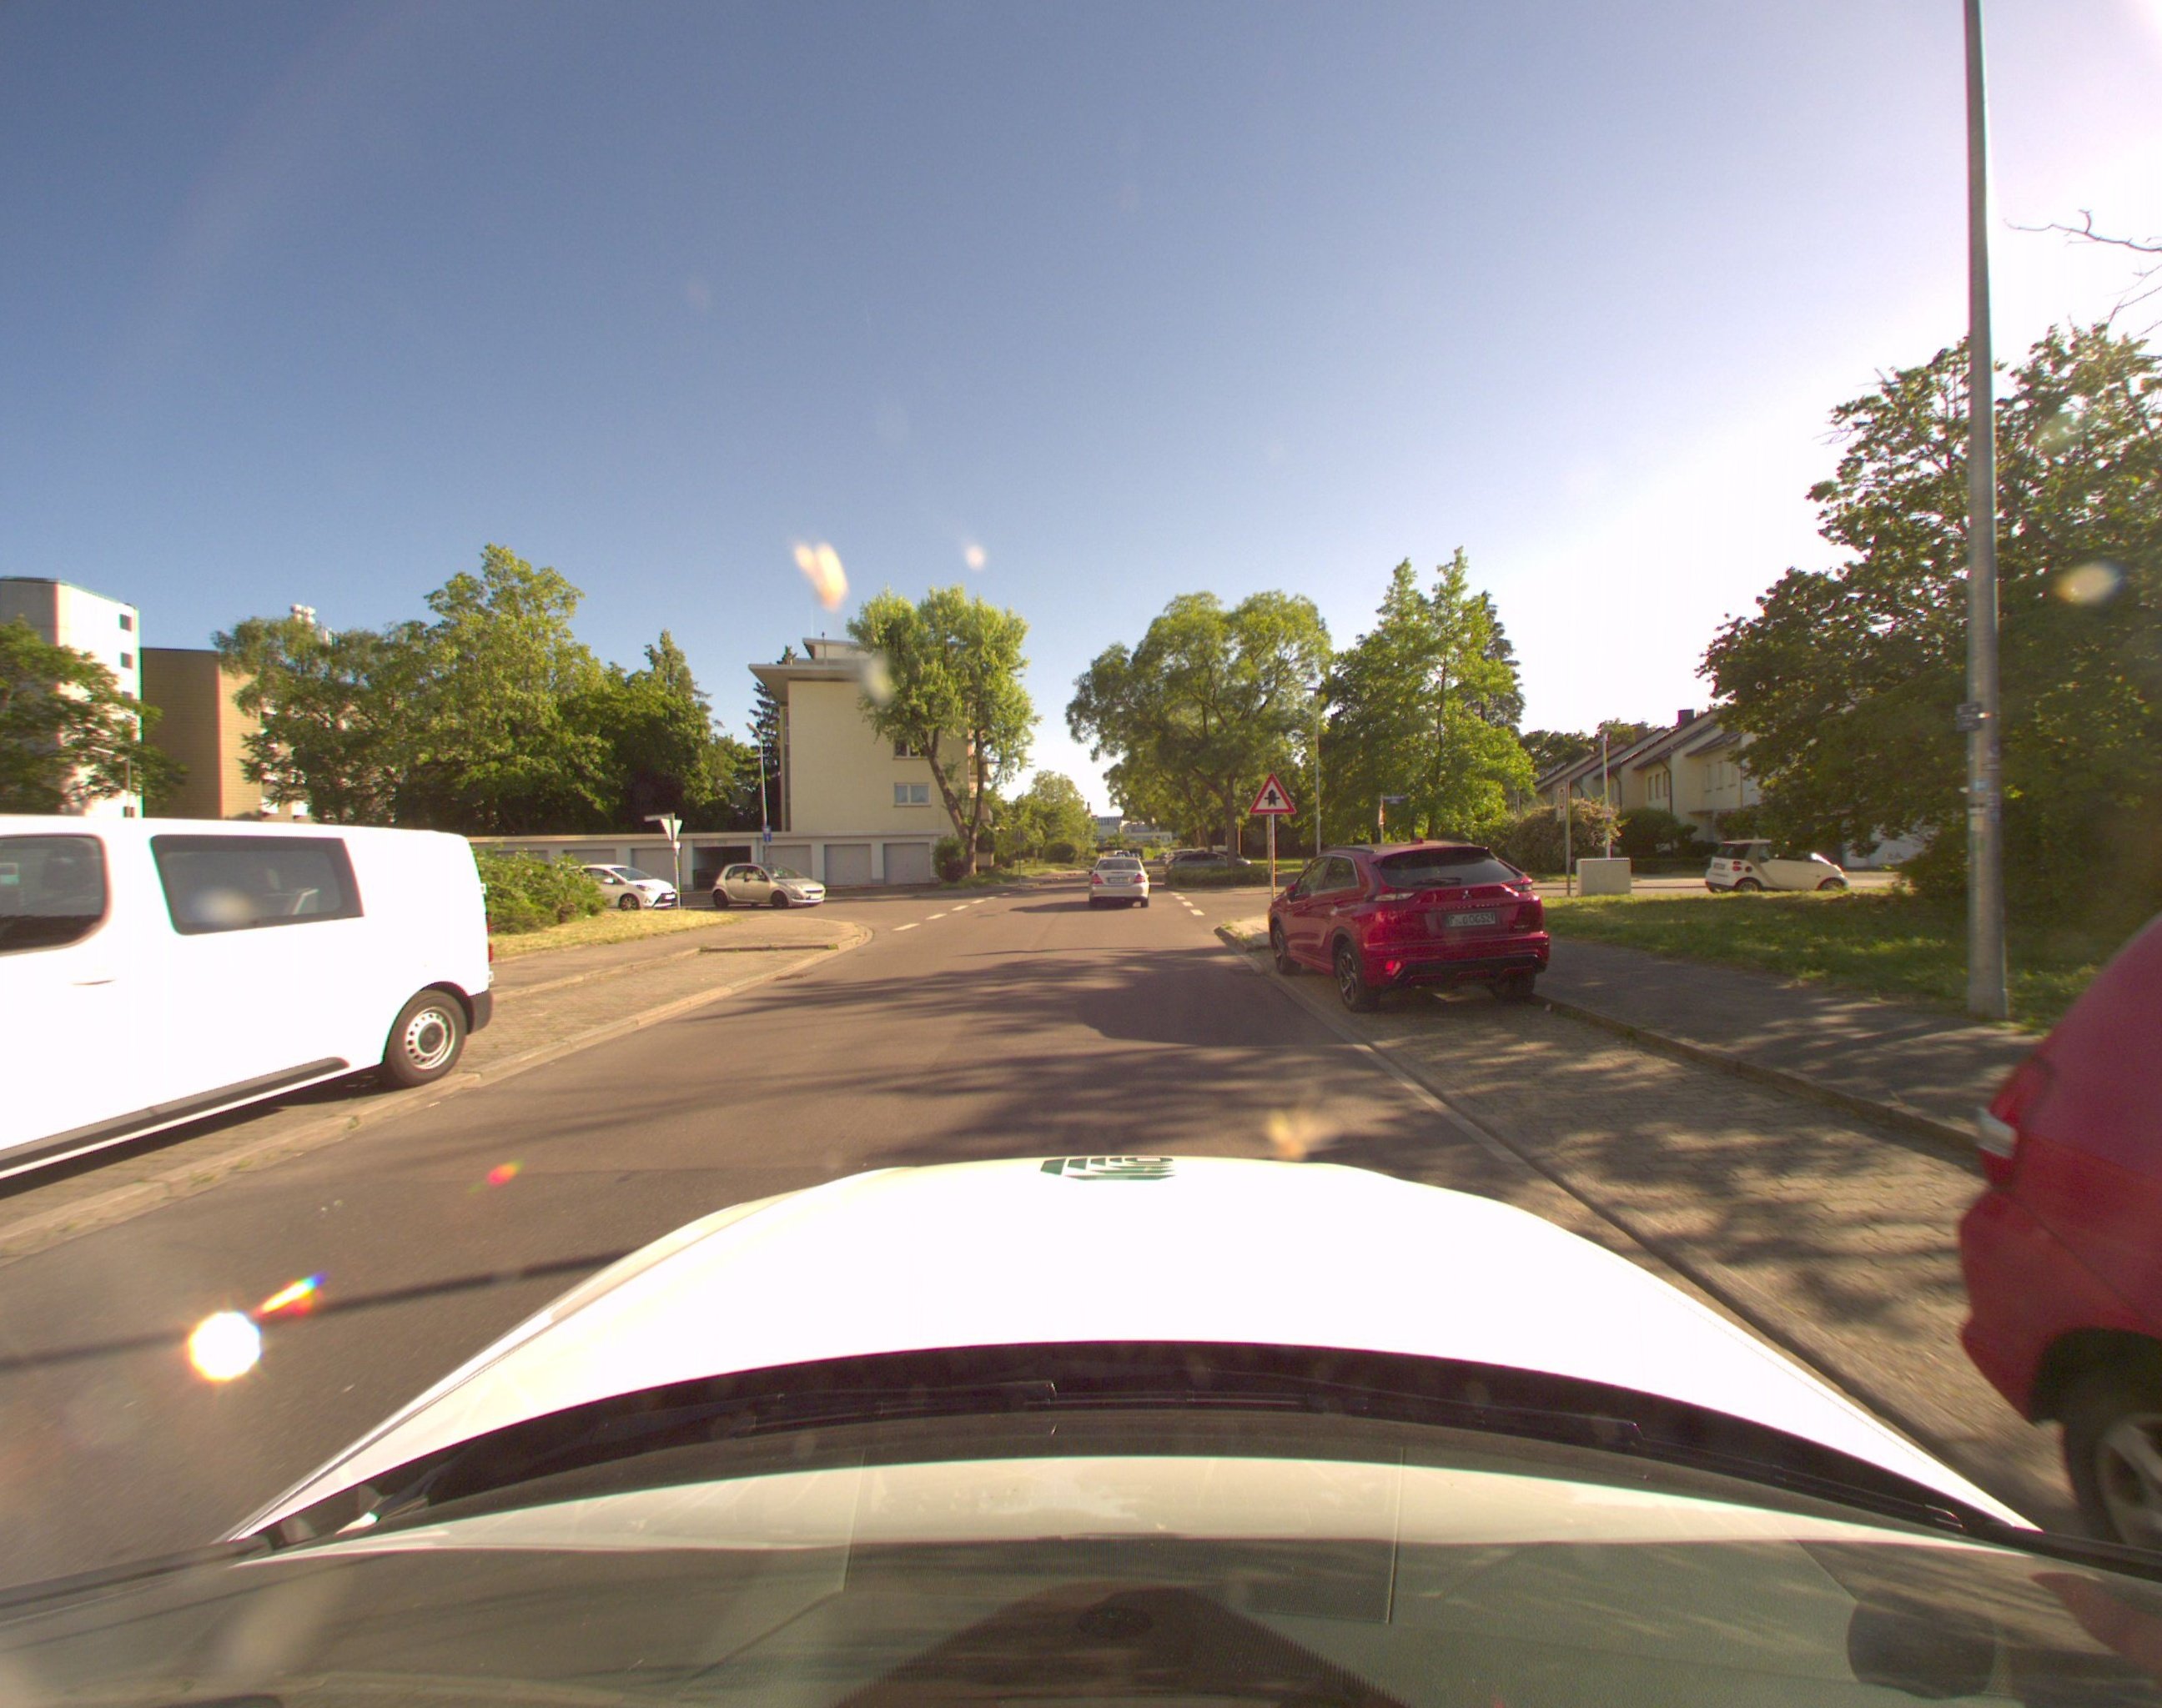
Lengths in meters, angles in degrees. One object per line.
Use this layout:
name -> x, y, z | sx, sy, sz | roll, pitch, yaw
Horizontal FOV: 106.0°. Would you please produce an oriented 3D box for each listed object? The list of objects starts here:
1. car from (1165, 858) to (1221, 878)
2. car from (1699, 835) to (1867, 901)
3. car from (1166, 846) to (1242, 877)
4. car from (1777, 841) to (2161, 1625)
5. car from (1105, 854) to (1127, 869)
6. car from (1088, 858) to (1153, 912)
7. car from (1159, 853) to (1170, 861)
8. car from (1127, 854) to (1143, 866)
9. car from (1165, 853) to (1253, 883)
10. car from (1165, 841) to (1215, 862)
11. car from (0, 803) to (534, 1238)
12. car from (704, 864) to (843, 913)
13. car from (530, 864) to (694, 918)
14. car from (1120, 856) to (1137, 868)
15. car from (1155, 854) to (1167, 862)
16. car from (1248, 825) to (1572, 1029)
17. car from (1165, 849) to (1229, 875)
car -> 10.122, 1.269, 74.132 | 4.865, 1.627, 2.001 | -1, 0, 2
car -> 18.532, 0.349, 21.647 | 2.933, 1.563, 1.708 | -1, 3, 14
car -> 8.500, 0.528, 56.523 | 4.871, 1.924, 1.999 | -2, 0, -2
car -> 2.856, 0.708, 0.373 | 1.685, 1.474, 4.001 | -2, 0, 1
car -> 3.847, 0.795, 89.462 | 1.902, 1.490, 3.846 | -4, -1, 9
car -> 1.116, 0.866, 23.787 | 1.726, 1.434, 3.439 | -1, -1, 2
car -> 17.643, 0.631, 172.225 | 1.881, 1.503, 3.668 | -1, 0, 12
car -> 7.608, 0.790, 114.460 | 1.739, 1.521, 4.205 | -3, 0, 10
car -> 7.249, 0.792, 46.485 | 4.762, 1.549, 2.013 | -2, 0, 3
car -> 11.591, -0.304, 86.458 | 5.189, 2.059, 2.004 | -2, 0, 7
car -> -5.663, 0.724, 4.226 | 2.007, 1.885, 5.192 | 0, 0, 2
car -> -10.022, 1.084, 26.567 | 3.894, 1.461, 2.009 | -1, 0, 22
car -> -14.588, 1.127, 25.452 | 3.964, 1.464, 2.048 | -2, 0, 8
car -> 6.346, 1.034, 107.978 | 1.739, 1.330, 3.461 | -4, -1, 11
car -> 16.143, 0.874, 164.044 | 1.881, 1.503, 3.668 | -1, 0, 12
car -> 3.400, 0.644, 9.538 | 1.769, 1.680, 4.643 | -4, 0, -1
car -> 9.071, 0.616, 63.958 | 4.859, 1.723, 2.004 | -3, 0, 6
